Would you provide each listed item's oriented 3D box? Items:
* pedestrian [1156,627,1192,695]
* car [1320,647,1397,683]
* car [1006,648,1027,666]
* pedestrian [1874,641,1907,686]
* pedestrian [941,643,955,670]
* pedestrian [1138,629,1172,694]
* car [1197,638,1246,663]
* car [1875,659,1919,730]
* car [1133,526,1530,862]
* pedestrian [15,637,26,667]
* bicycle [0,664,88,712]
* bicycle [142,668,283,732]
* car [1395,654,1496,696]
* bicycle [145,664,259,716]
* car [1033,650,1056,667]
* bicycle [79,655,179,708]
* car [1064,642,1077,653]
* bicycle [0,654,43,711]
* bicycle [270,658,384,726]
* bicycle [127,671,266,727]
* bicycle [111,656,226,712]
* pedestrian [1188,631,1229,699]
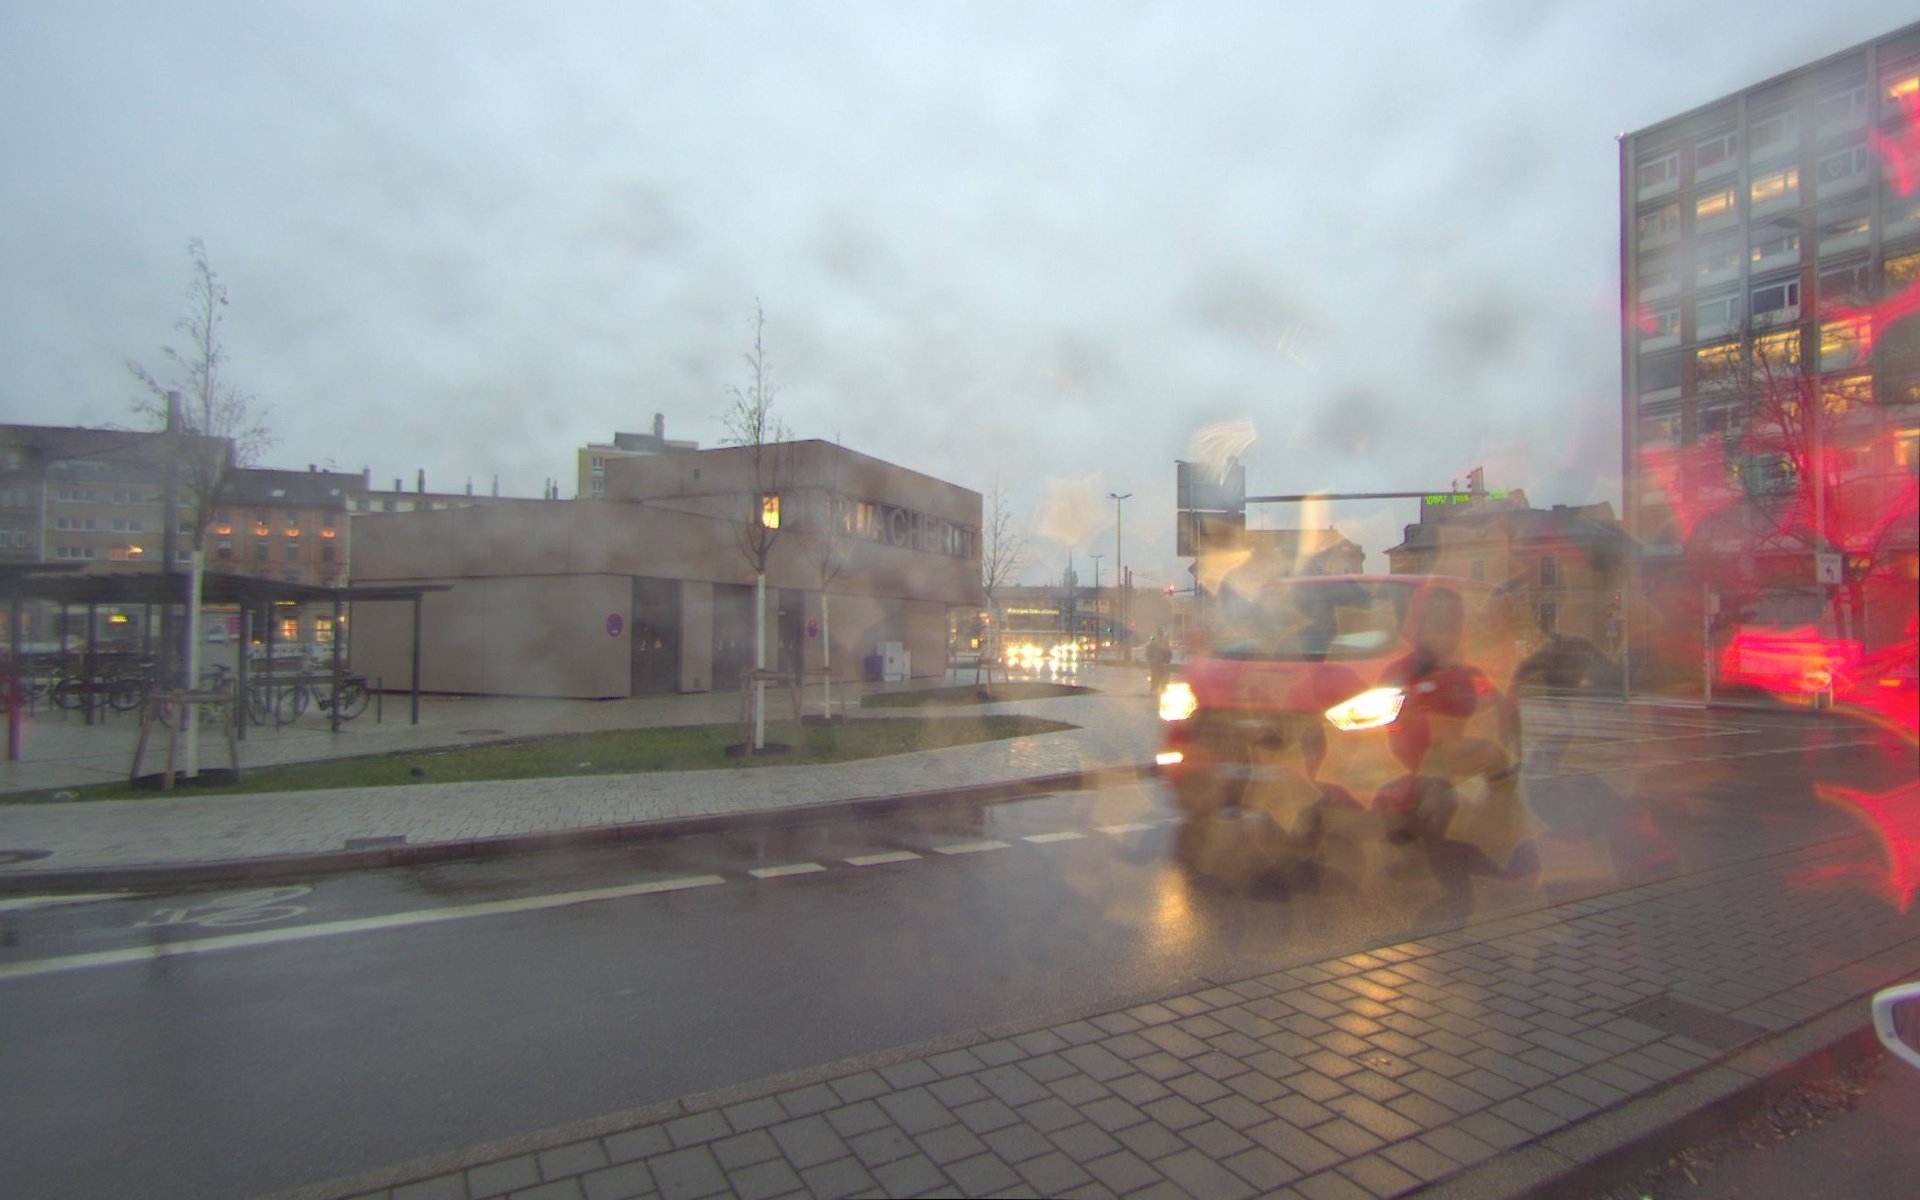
[{"bbox_3d":[6.035,1.712,28.342,0.723,1.863,0.674,0,-2,-16],"label":"pedestrian"},{"bbox_3d":[20.494,3.315,51.814,1.795,1.589,3.991,2,0,-11],"label":"car"},{"bbox_3d":[5.035,5.066,89.773,1.710,1.467,3.715,-1,-2,1],"label":"car"},{"bbox_3d":[35.796,2.420,38.655,0.626,1.710,0.640,0,-2,-13],"label":"pedestrian"},{"bbox_3d":[-0.914,4.280,76.048,0.741,2.040,0.753,1,-2,-31],"label":"pedestrian"},{"bbox_3d":[5.427,1.711,28.002,0.731,1.793,0.546,0,-2,-16],"label":"pedestrian"},{"bbox_3d":[19.388,3.728,74.495,3.321,1.724,1.526,2,0,8],"label":"car"},{"bbox_3d":[19.467,1.746,17.664,1.908,1.319,4.683,2,-3,-17],"label":"car"},{"bbox_3d":[3.454,0.695,8.704,1.900,2.097,4.625,-2,-3,38],"label":"car"},{"bbox_3d":[-65.148,3.614,69.662,0.407,2.040,0.441,0,-2,-22],"label":"pedestrian"},{"bbox_3d":[-18.511,1.738,19.987,0.466,0.903,1.693,1,-2,24],"label":"bicycle"},{"bbox_3d":[-12.938,1.707,17.456,0.466,0.989,1.923,1,-2,29],"label":"bicycle"},{"bbox_3d":[21.648,3.315,44.968,1.798,1.589,3.984,2,0,-18],"label":"car"},{"bbox_3d":[-15.183,1.783,20.171,0.466,0.968,1.767,1,-2,29],"label":"bicycle"},{"bbox_3d":[8.049,5.598,96.064,1.775,1.496,4.594,1,-3,0],"label":"car"},{"bbox_3d":[-17.689,1.716,21.430,0.511,1.050,1.573,1,-2,19],"label":"bicycle"},{"bbox_3d":[16.277,6.945,147.684,1.704,1.529,4.003,-1,-2,7],"label":"car"},{"bbox_3d":[-19.397,1.638,19.836,0.466,1.122,1.797,1,-2,29],"label":"bicycle"},{"bbox_3d":[-11.753,1.680,18.716,0.605,1.172,1.755,1,-2,20],"label":"bicycle"},{"bbox_3d":[-13.589,1.742,17.948,0.466,0.903,1.923,1,-2,29],"label":"bicycle"},{"bbox_3d":[-16.533,1.741,21.036,0.466,1.087,1.830,1,-2,26],"label":"bicycle"},{"bbox_3d":[6.585,1.710,26.625,0.838,1.778,0.659,0,-2,-14],"label":"pedestrian"}]
